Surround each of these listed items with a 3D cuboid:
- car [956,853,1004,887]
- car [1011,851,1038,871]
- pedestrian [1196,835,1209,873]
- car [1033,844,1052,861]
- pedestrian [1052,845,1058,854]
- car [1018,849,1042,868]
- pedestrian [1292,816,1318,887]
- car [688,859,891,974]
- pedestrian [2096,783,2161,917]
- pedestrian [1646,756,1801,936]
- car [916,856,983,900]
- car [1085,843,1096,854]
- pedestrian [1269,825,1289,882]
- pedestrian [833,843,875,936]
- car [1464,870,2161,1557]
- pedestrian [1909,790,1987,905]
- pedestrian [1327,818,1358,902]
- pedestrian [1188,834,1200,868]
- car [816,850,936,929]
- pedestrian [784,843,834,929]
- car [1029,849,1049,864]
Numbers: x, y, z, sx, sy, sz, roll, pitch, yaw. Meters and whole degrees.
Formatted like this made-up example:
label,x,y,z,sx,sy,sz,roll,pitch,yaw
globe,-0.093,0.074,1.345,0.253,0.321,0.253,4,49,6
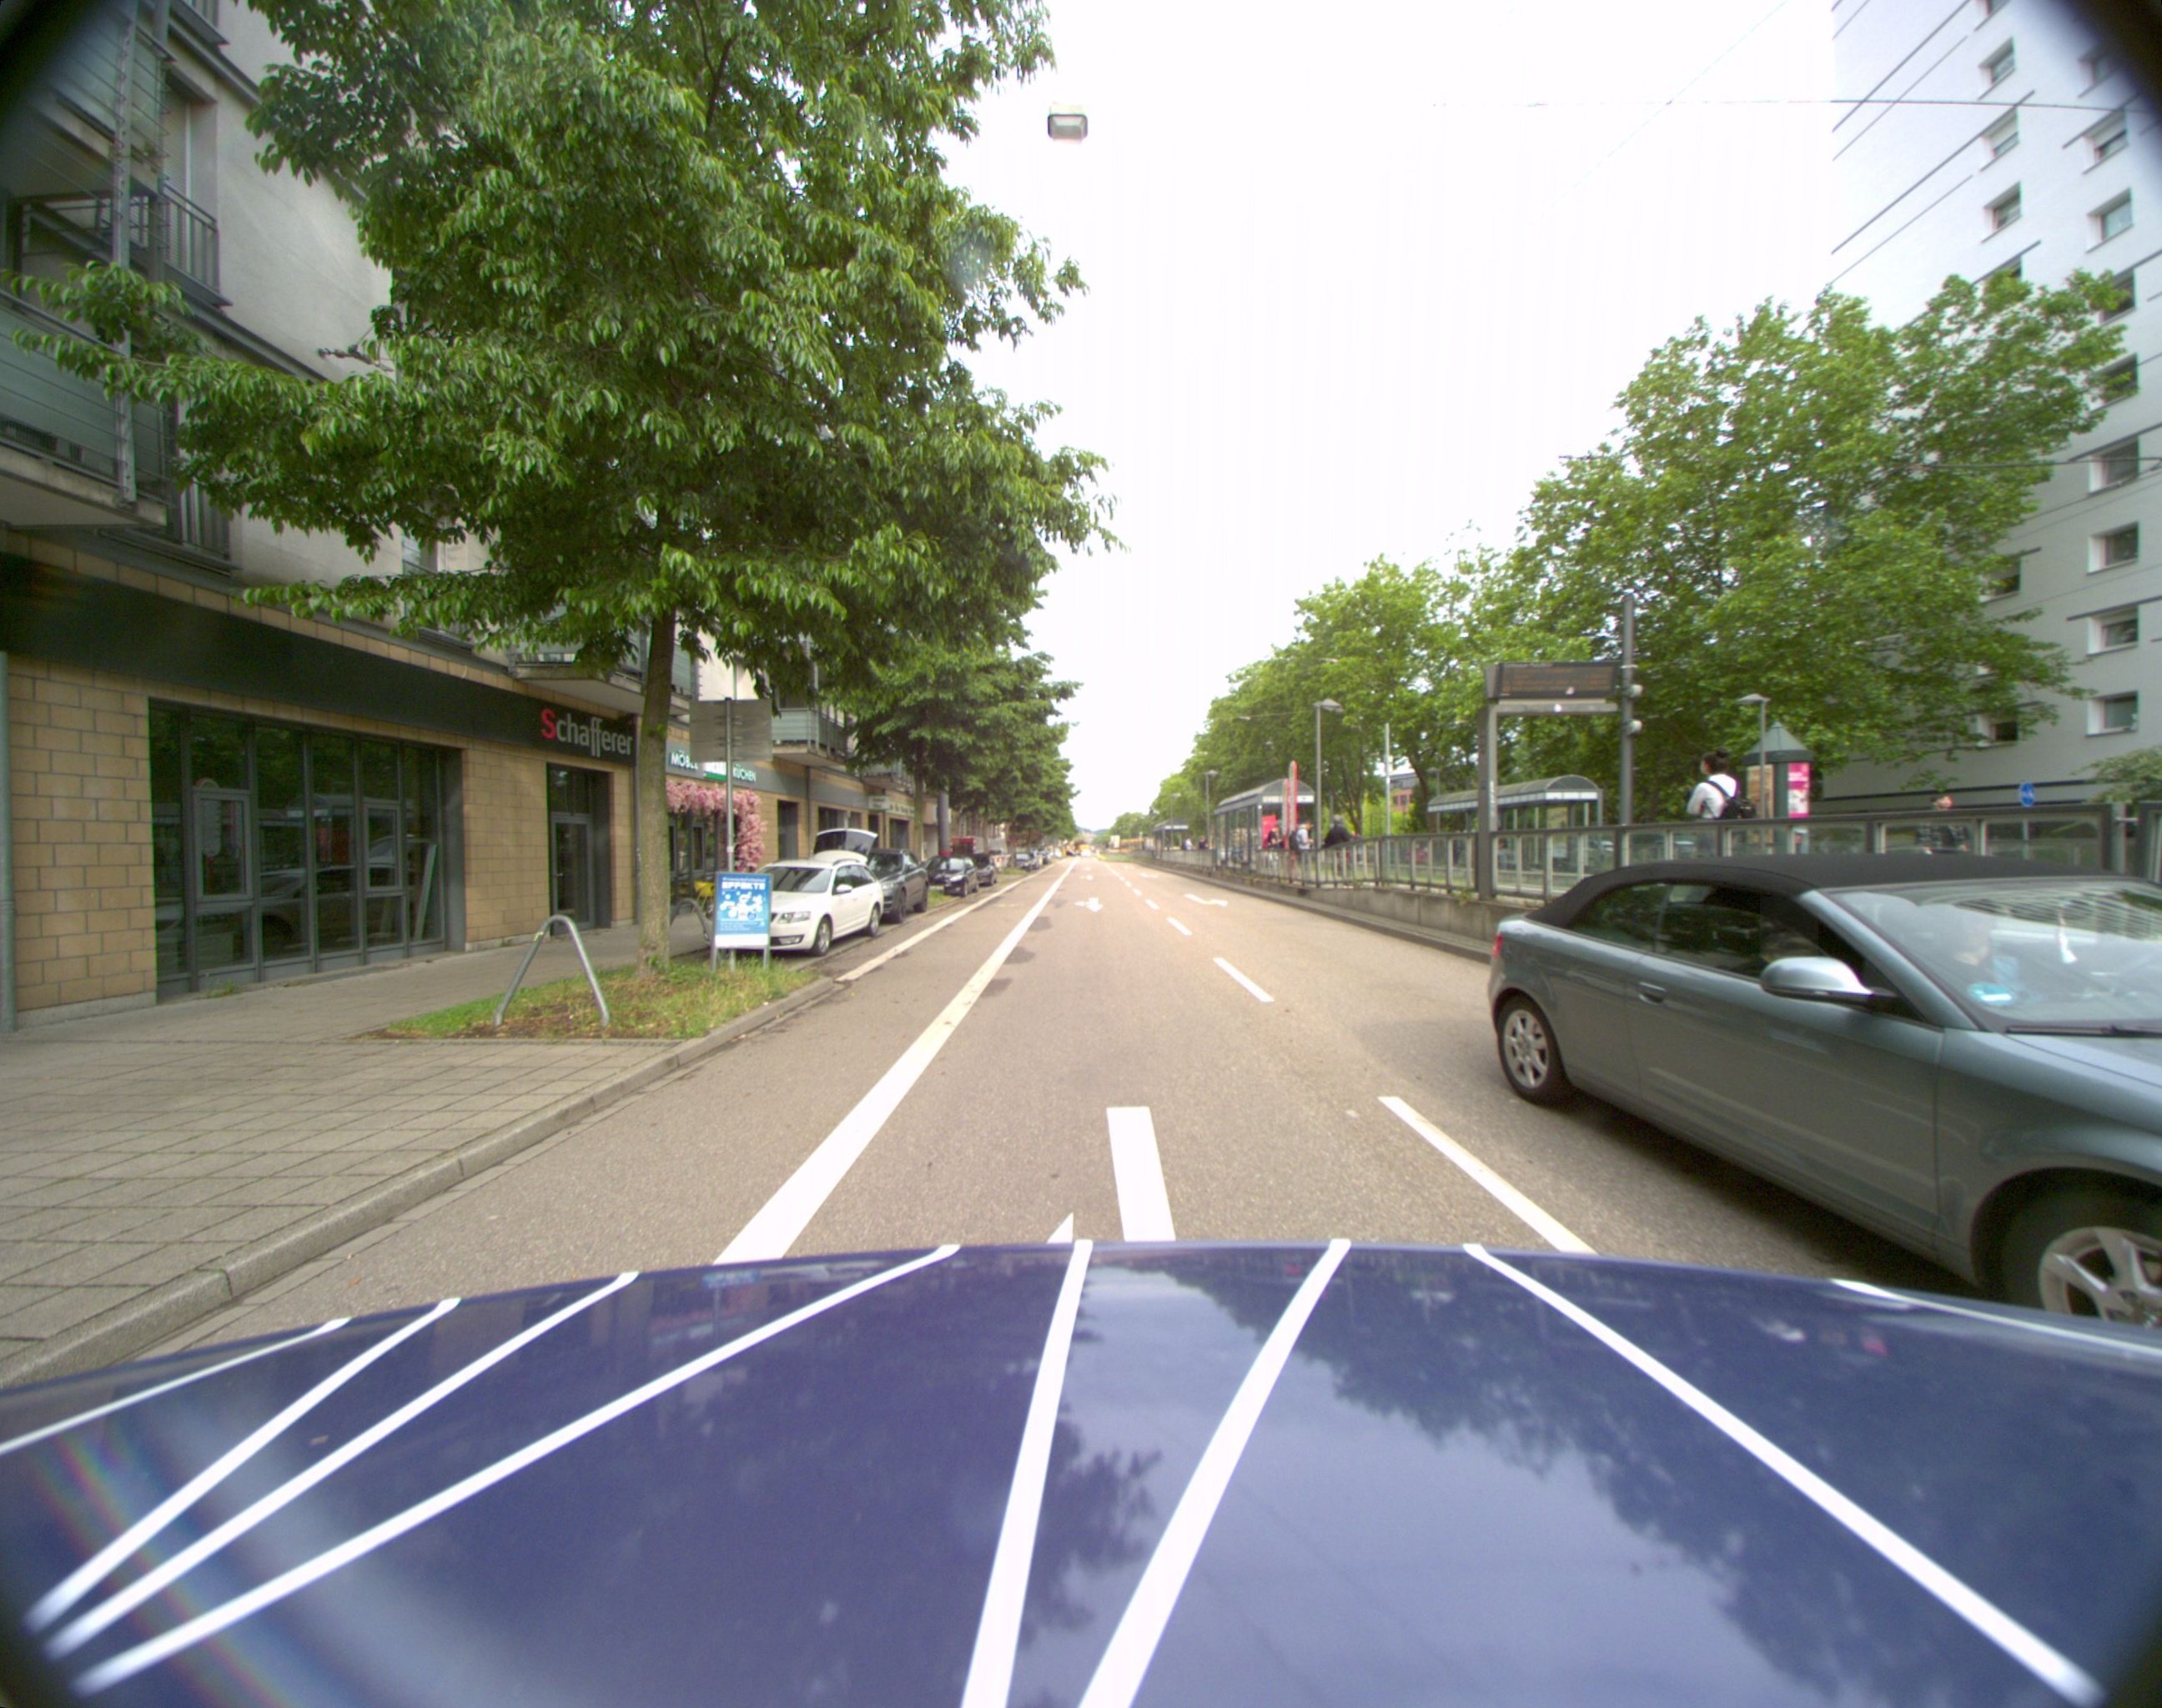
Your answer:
label,x,y,z,sx,sy,sz,roll,pitch,yaw
car,-4.555,0.687,34.759,1.612,1.393,3.667,2,1,1
car,-4.162,0.482,56.247,1.612,1.393,3.667,2,1,1
pedestrian,5.849,0.001,36.545,0.530,1.794,0.606,-2,1,14
car,-3.961,-0.139,78.243,1.612,1.674,3.806,2,1,1
pedestrian,-5.615,-0.982,163.363,1.216,2.002,1.143,-1,1,1
car,-4.173,0.364,62.220,1.612,1.393,3.667,2,1,1
pedestrian,5.749,-0.062,19.504,0.475,1.794,0.605,-2,1,5
car,-4.718,0.903,13.023,1.738,1.512,4.308,2,1,1
pedestrian,15.164,-0.075,10.678,0.882,1.823,0.666,-2,1,1
pedestrian,6.378,-0.073,7.605,0.720,1.661,0.979,-2,1,3
car,-4.635,0.797,27.298,1.612,1.370,4.167,2,1,1
car,1.988,-1.163,158.699,1.998,2.002,4.198,-2,1,2
pedestrian,6.314,-0.027,24.221,0.474,1.794,0.606,-2,1,26
pedestrian,-4.686,0.716,15.713,0.656,1.873,0.599,-1,1,1
car,3.280,0.850,2.764,1.716,1.379,4.099,-2,1,1
pedestrian,14.991,-0.116,13.149,0.699,1.919,0.554,-2,1,1
pedestrian,5.707,0.121,16.602,0.521,1.794,0.605,-2,1,13
pedestrian,6.142,-0.177,41.362,0.530,1.794,0.606,-2,1,14
car,-4.714,0.744,18.026,1.738,1.601,3.798,2,1,1
pedestrian,-5.590,0.644,15.629,0.737,1.707,0.618,1,1,8
car,-3.967,0.211,72.473,1.612,1.393,3.667,2,1,1
